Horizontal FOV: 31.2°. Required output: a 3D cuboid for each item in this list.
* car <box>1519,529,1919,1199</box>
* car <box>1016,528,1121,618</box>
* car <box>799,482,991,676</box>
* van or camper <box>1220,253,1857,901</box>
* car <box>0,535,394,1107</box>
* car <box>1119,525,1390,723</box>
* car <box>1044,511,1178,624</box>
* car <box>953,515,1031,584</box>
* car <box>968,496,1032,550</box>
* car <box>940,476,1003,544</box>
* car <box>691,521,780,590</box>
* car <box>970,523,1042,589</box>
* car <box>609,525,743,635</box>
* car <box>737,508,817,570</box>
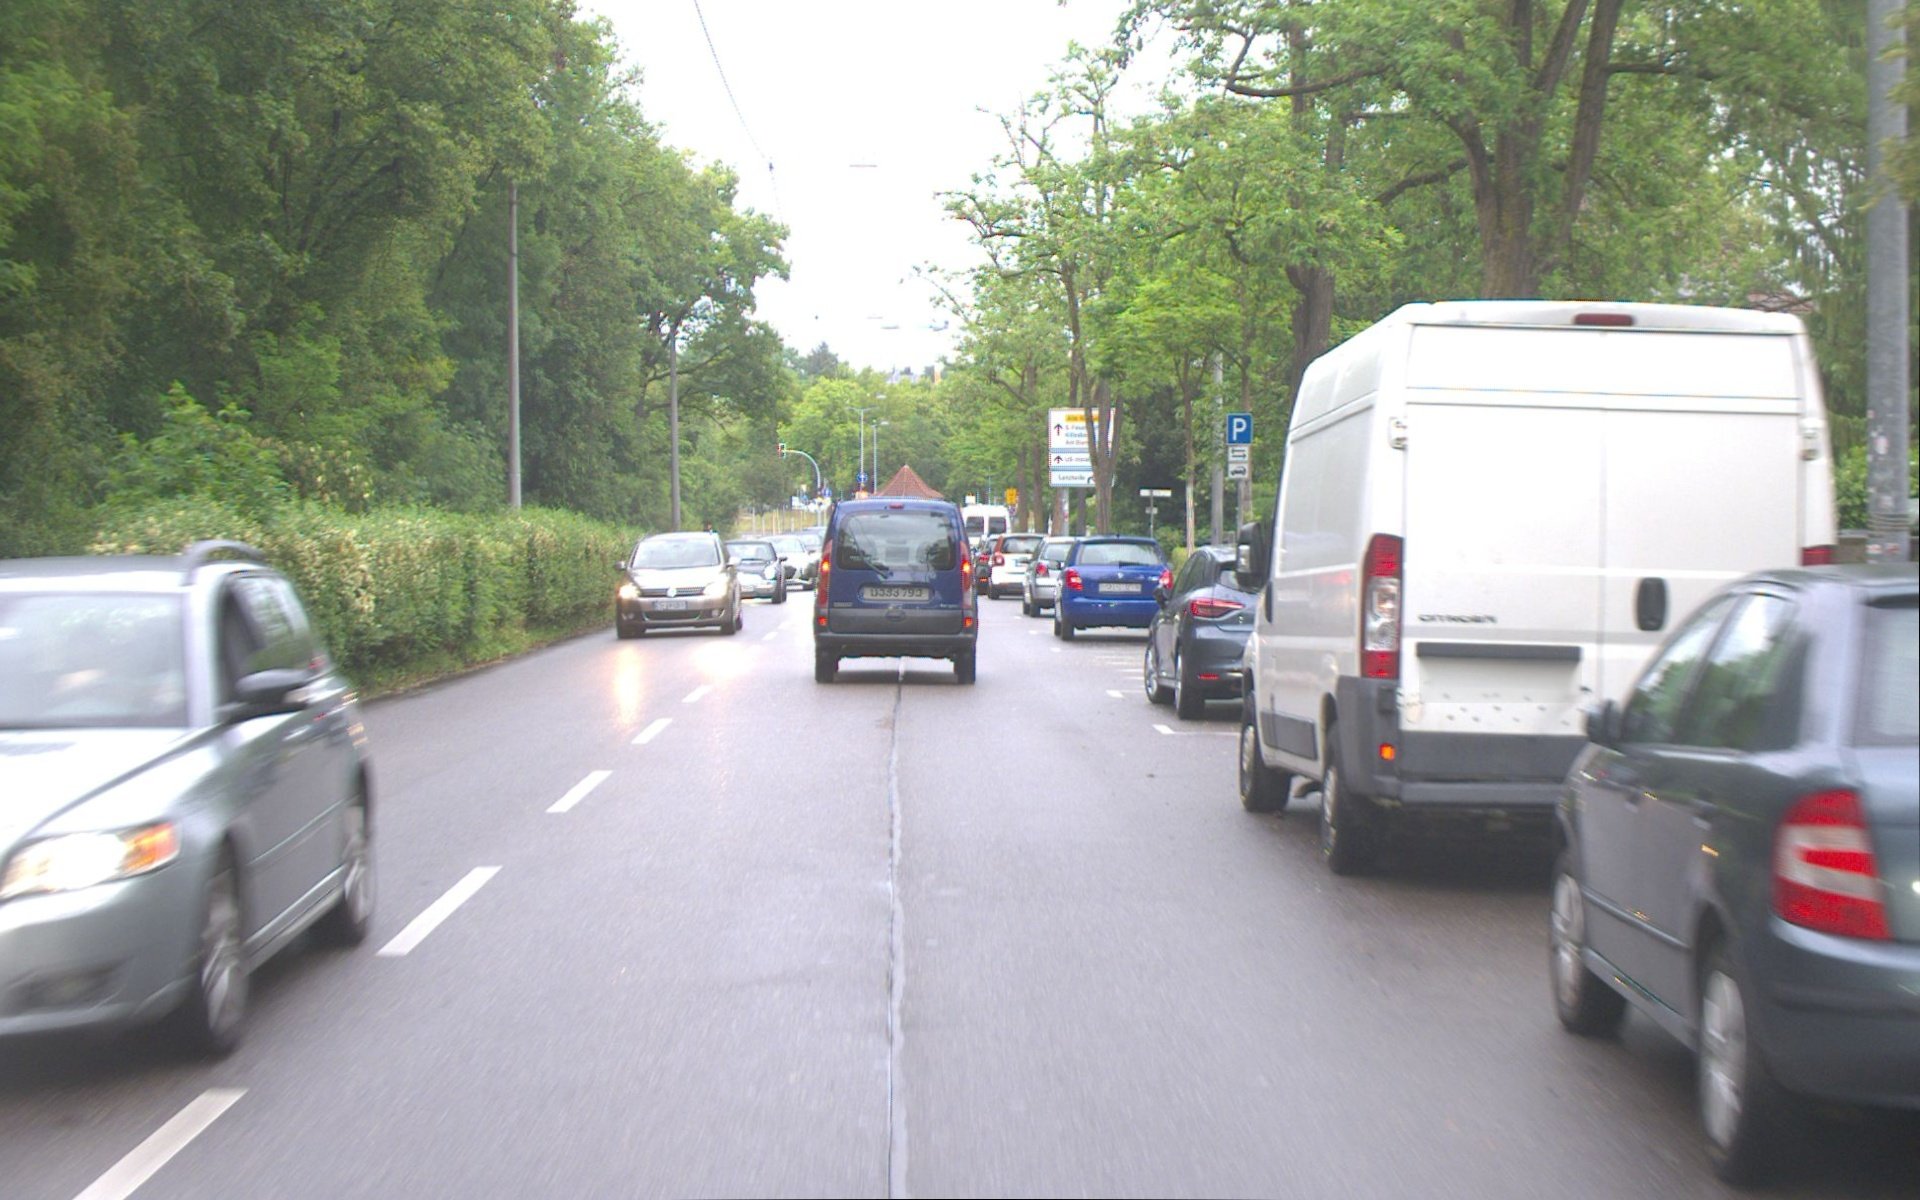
[{"bbox_3d":[2.557,0.589,9.146,1.626,1.459,3.808,1,2,2],"label":"car"},{"bbox_3d":[1.962,-0.523,63.147,1.618,1.503,3.835,1,2,-2],"label":"car"},{"bbox_3d":[-0.709,-0.261,34.918,1.766,1.824,3.543,1,2,-4],"label":"car"},{"bbox_3d":[2.587,-0.195,16.861,2.078,2.641,5.347,1,2,-1],"label":"van or camper"},{"bbox_3d":[-2.980,0.568,10.877,1.783,1.474,3.968,-1,0,-1],"label":"car"},{"bbox_3d":[2.432,0.151,29.304,1.740,1.474,3.965,1,2,-3],"label":"car"},{"bbox_3d":[2.154,-0.506,49.920,1.721,1.500,4.051,1,2,0],"label":"car"},{"bbox_3d":[0.712,-1.175,79.192,1.632,1.504,2.958,1,2,-2],"label":"car"},{"bbox_3d":[1.154,-2.286,101.485,1.698,1.519,3.868,1,2,-2],"label":"car"},{"bbox_3d":[0.414,-3.321,126.866,2.205,2.441,4.730,-1,1,-1],"label":"car"},{"bbox_3d":[-4.875,-0.982,75.055,1.686,1.351,3.724,-2,2,-1],"label":"car"},{"bbox_3d":[1.165,-1.104,85.289,1.698,1.519,3.868,1,2,2],"label":"car"},{"bbox_3d":[-4.261,-0.335,52.043,1.729,1.487,4.001,-2,2,-1],"label":"car"},{"bbox_3d":[-4.877,-1.649,92.137,1.856,1.463,4.447,-3,2,0],"label":"car"}]
